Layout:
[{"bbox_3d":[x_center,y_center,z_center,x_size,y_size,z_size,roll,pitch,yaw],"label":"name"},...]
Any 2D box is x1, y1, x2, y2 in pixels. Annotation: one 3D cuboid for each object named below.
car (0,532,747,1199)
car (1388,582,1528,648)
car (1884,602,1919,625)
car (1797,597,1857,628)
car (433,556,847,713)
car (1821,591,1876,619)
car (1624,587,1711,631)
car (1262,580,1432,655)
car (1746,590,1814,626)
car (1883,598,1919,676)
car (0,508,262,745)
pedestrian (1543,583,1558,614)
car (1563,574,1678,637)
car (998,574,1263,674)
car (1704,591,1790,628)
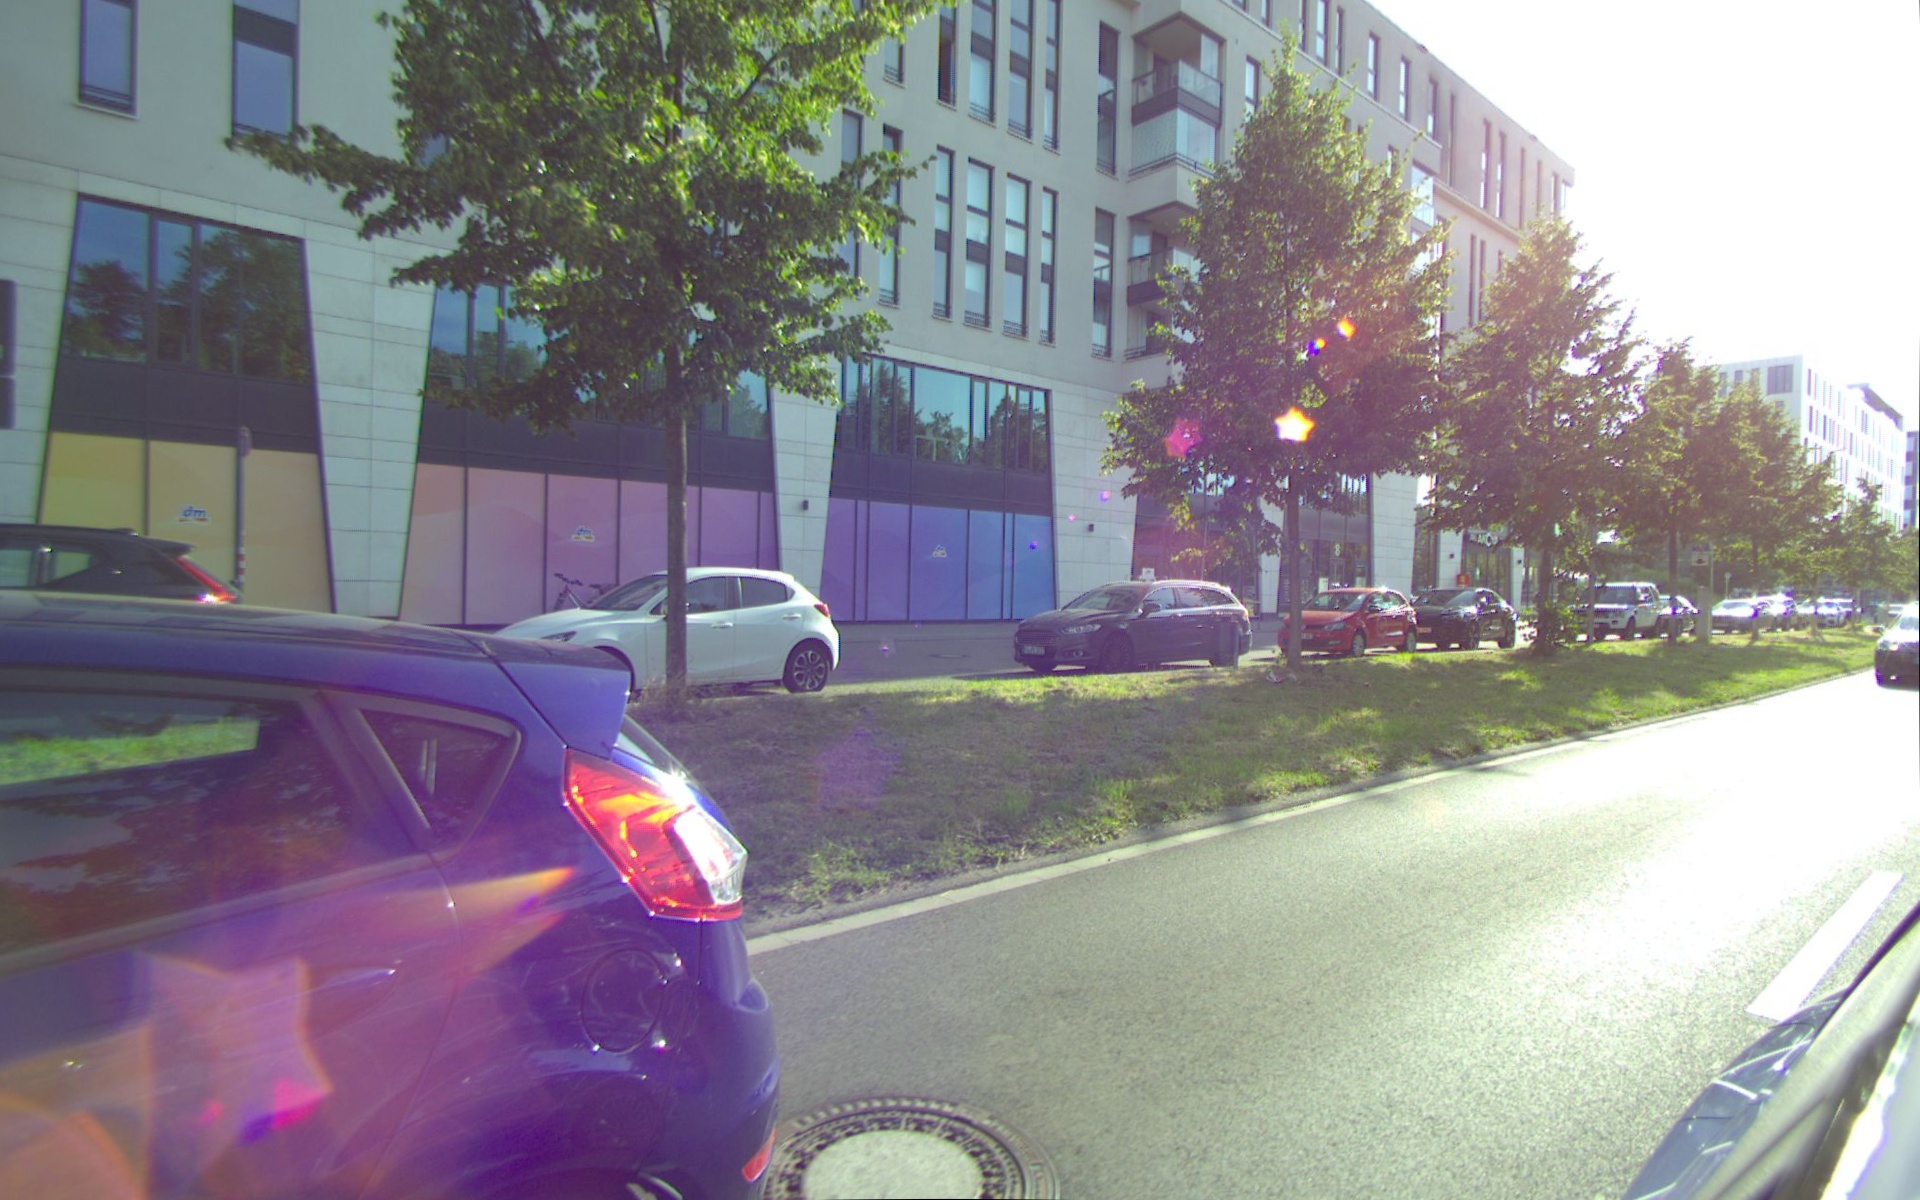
[{"bbox_3d":[-2.297,0.659,0.979,3.839,1.442,1.562,0,0,-41],"label":"car"},{"bbox_3d":[12.521,0.328,25.336,1.868,1.510,4.344,-1,0,45],"label":"car"},{"bbox_3d":[67.503,0.936,72.218,4.252,1.549,1.838,0,0,-41],"label":"car"},{"bbox_3d":[46.544,0.644,54.293,4.252,1.549,1.838,0,0,-41],"label":"car"},{"bbox_3d":[-3.385,0.304,11.217,4.098,1.430,1.617,0,0,-43],"label":"car"},{"bbox_3d":[51.284,0.252,58.387,4.252,1.549,1.838,0,0,-41],"label":"car"},{"bbox_3d":[25.694,0.307,36.713,4.140,1.507,1.762,0,0,-43],"label":"car"},{"bbox_3d":[8.325,0.331,21.617,4.043,1.450,1.731,0,0,-41],"label":"car"},{"bbox_3d":[38.673,0.355,47.712,4.252,1.618,1.763,0,0,-41],"label":"car"},{"bbox_3d":[19.620,0.684,19.910,3.969,1.442,1.697,0,0,-41],"label":"car"},{"bbox_3d":[-7.770,0.193,7.410,4.262,1.671,1.732,0,0,-40],"label":"car"},{"bbox_3d":[30.937,-0.089,53.029,0.562,1.621,0.499,0,-1,-41],"label":"pedestrian"},{"bbox_3d":[21.427,0.142,32.773,4.760,1.898,1.897,0,0,-41],"label":"car"},{"bbox_3d":[2.946,0.336,16.831,4.637,1.450,1.732,0,0,-39],"label":"car"},{"bbox_3d":[33.980,0.385,43.637,4.828,1.507,1.765,0,0,-37],"label":"car"}]
